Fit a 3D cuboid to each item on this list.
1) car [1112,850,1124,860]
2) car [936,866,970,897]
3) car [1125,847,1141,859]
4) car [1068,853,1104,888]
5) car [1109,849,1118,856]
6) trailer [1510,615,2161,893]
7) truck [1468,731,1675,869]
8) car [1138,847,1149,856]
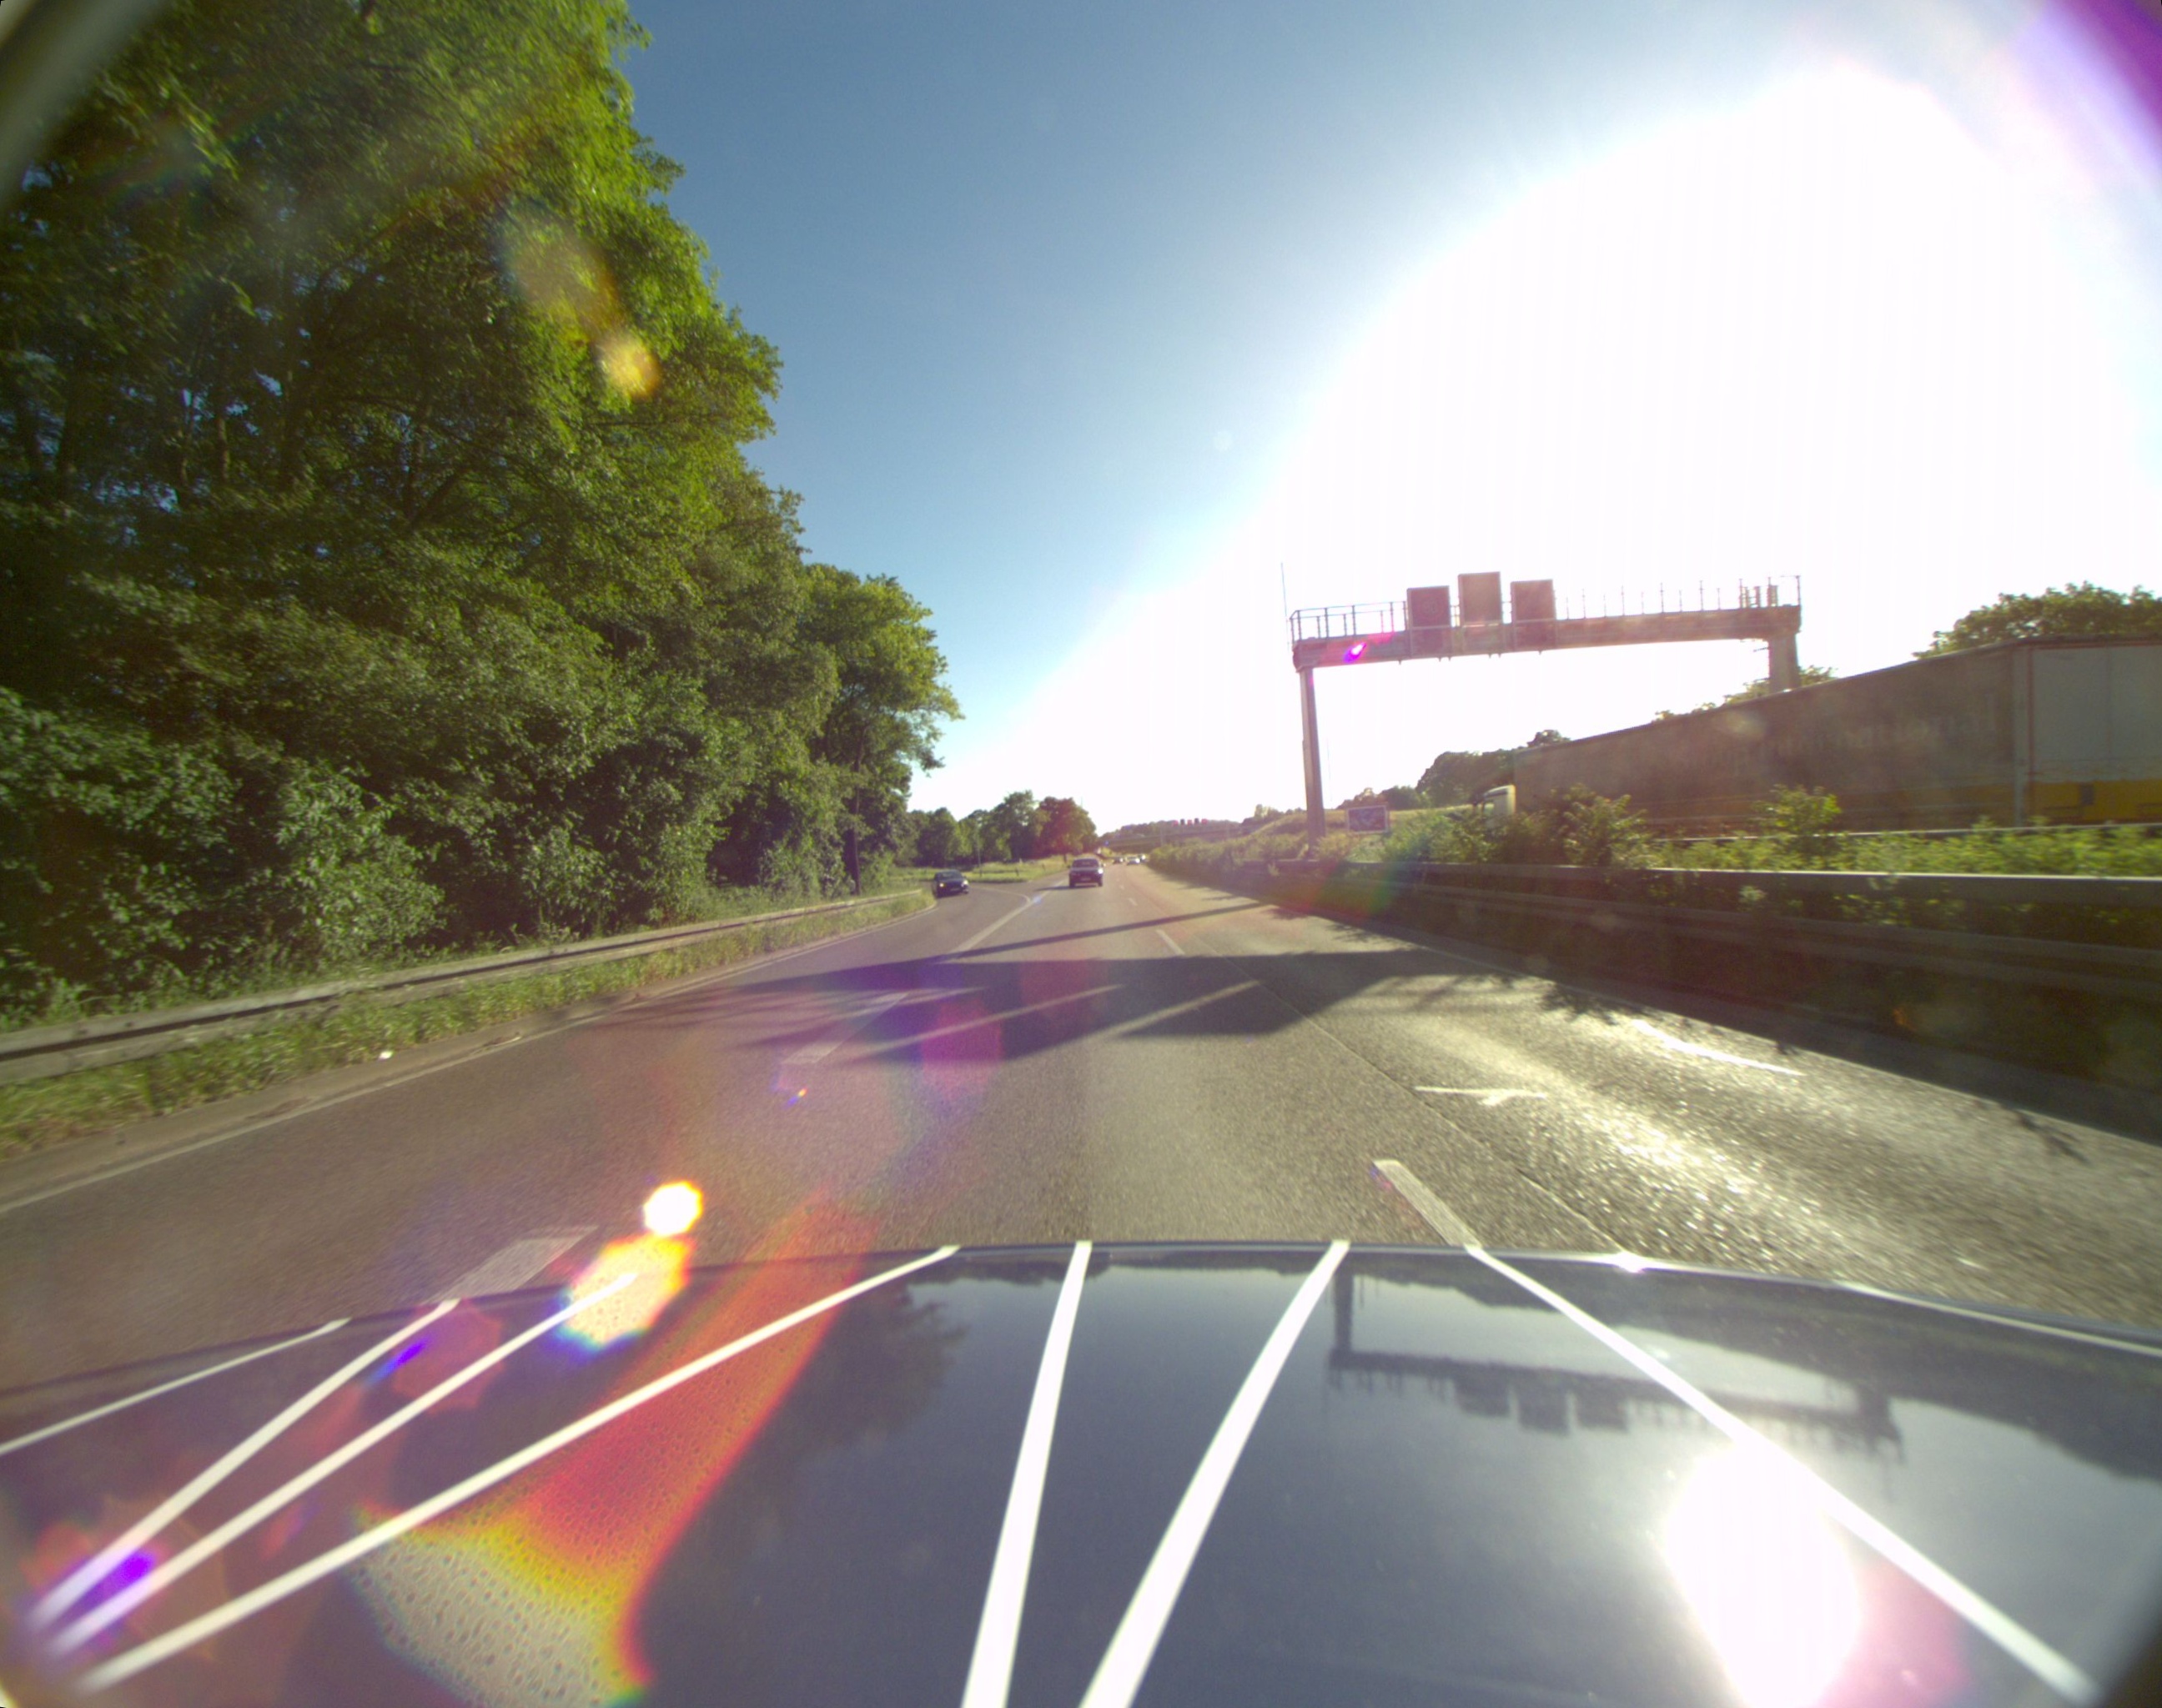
[{"bbox_3d":[6.895,0.122,140.842,1.998,1.740,4.373,-2,0,3],"label":"car"},{"bbox_3d":[-7.502,1.570,44.290,1.714,1.565,3.418,-3,0,-13],"label":"car"},{"bbox_3d":[8.012,-0.142,116.552,1.999,1.793,3.999,-2,0,-1],"label":"car"},{"bbox_3d":[0.307,0.841,40.313,1.712,1.565,3.422,-6,0,1],"label":"car"},{"bbox_3d":[8.771,-0.315,206.187,1.997,1.740,4.375,-2,0,8],"label":"car"},{"bbox_3d":[15.579,-1.521,18.096,3.030,3.964,14.026,-2,0,1],"label":"trailer"},{"bbox_3d":[15.765,-1.585,25.034,3.011,3.890,5.900,-2,1,1],"label":"truck"},{"bbox_3d":[12.321,-0.482,150.512,1.998,1.740,4.373,-2,0,3],"label":"car"}]
